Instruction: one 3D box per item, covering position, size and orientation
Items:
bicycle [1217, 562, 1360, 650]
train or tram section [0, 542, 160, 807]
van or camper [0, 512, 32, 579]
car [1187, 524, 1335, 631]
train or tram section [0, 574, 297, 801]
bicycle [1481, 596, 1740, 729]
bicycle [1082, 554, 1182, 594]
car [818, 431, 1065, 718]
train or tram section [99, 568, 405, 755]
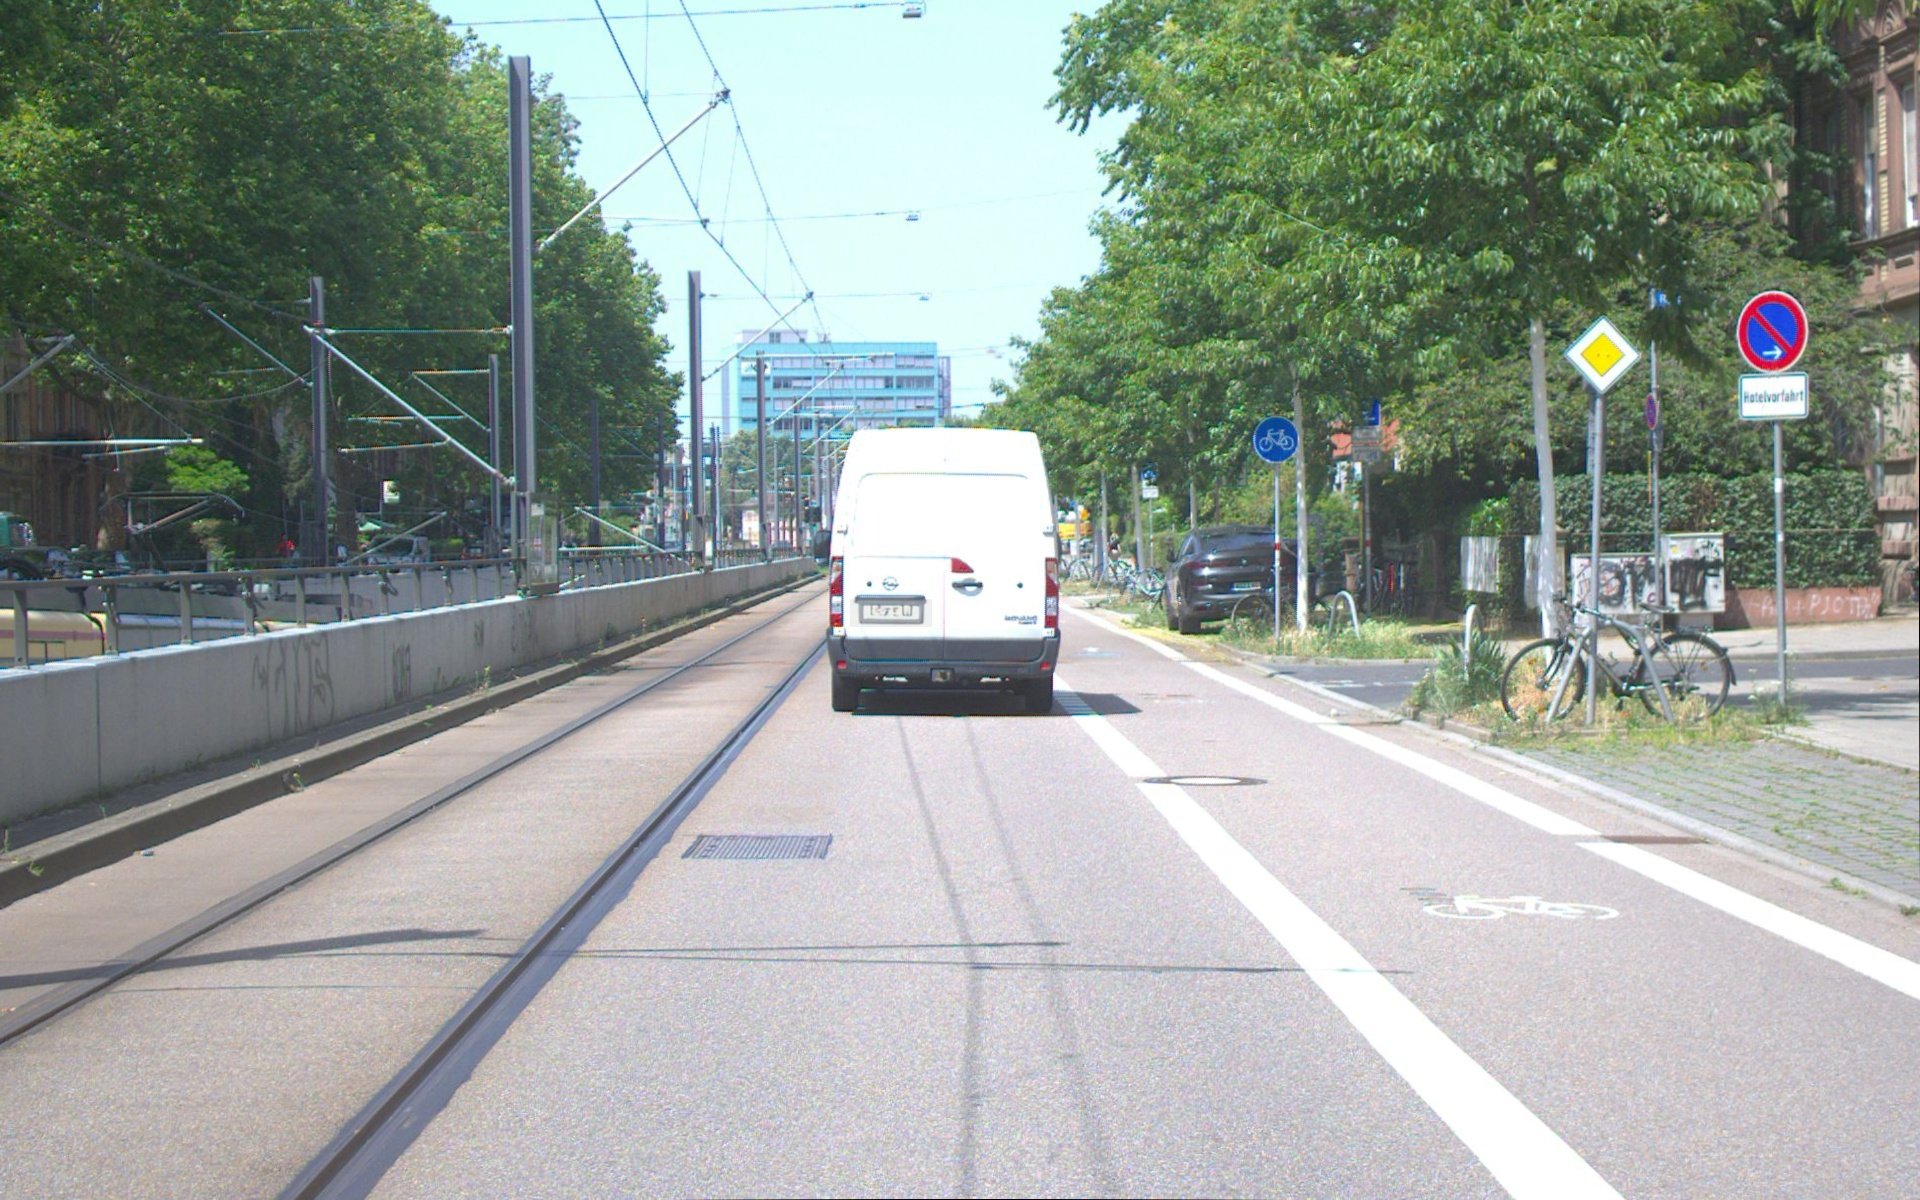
[{"bbox_3d":[4.499,0.082,47.135,1.887,1.178,0.640,0,1,-2],"label":"bicycle"},{"bbox_3d":[-10.525,0.665,35.500,2.729,2.500,8.004,0,1,-1],"label":"train or tram section"},{"bbox_3d":[-30.345,-1.633,104.105,3.986,2.007,2.000,-1,1,-3],"label":"van or camper"},{"bbox_3d":[4.828,-0.397,55.669,2.157,1.664,4.000,0,1,2],"label":"car"},{"bbox_3d":[-10.602,0.977,43.807,2.729,2.500,8.491,0,1,-1],"label":"train or tram section"},{"bbox_3d":[4.868,0.466,25.784,1.842,0.950,0.503,-1,1,1],"label":"bicycle"},{"bbox_3d":[3.805,-0.591,75.648,1.560,0.823,3.998,0,1,12],"label":"bicycle"},{"bbox_3d":[-0.151,-0.269,32.076,2.117,2.450,5.054,0,1,0],"label":"car"},{"bbox_3d":[-10.707,0.816,53.089,2.729,2.500,10.090,0,1,-1],"label":"train or tram section"}]
